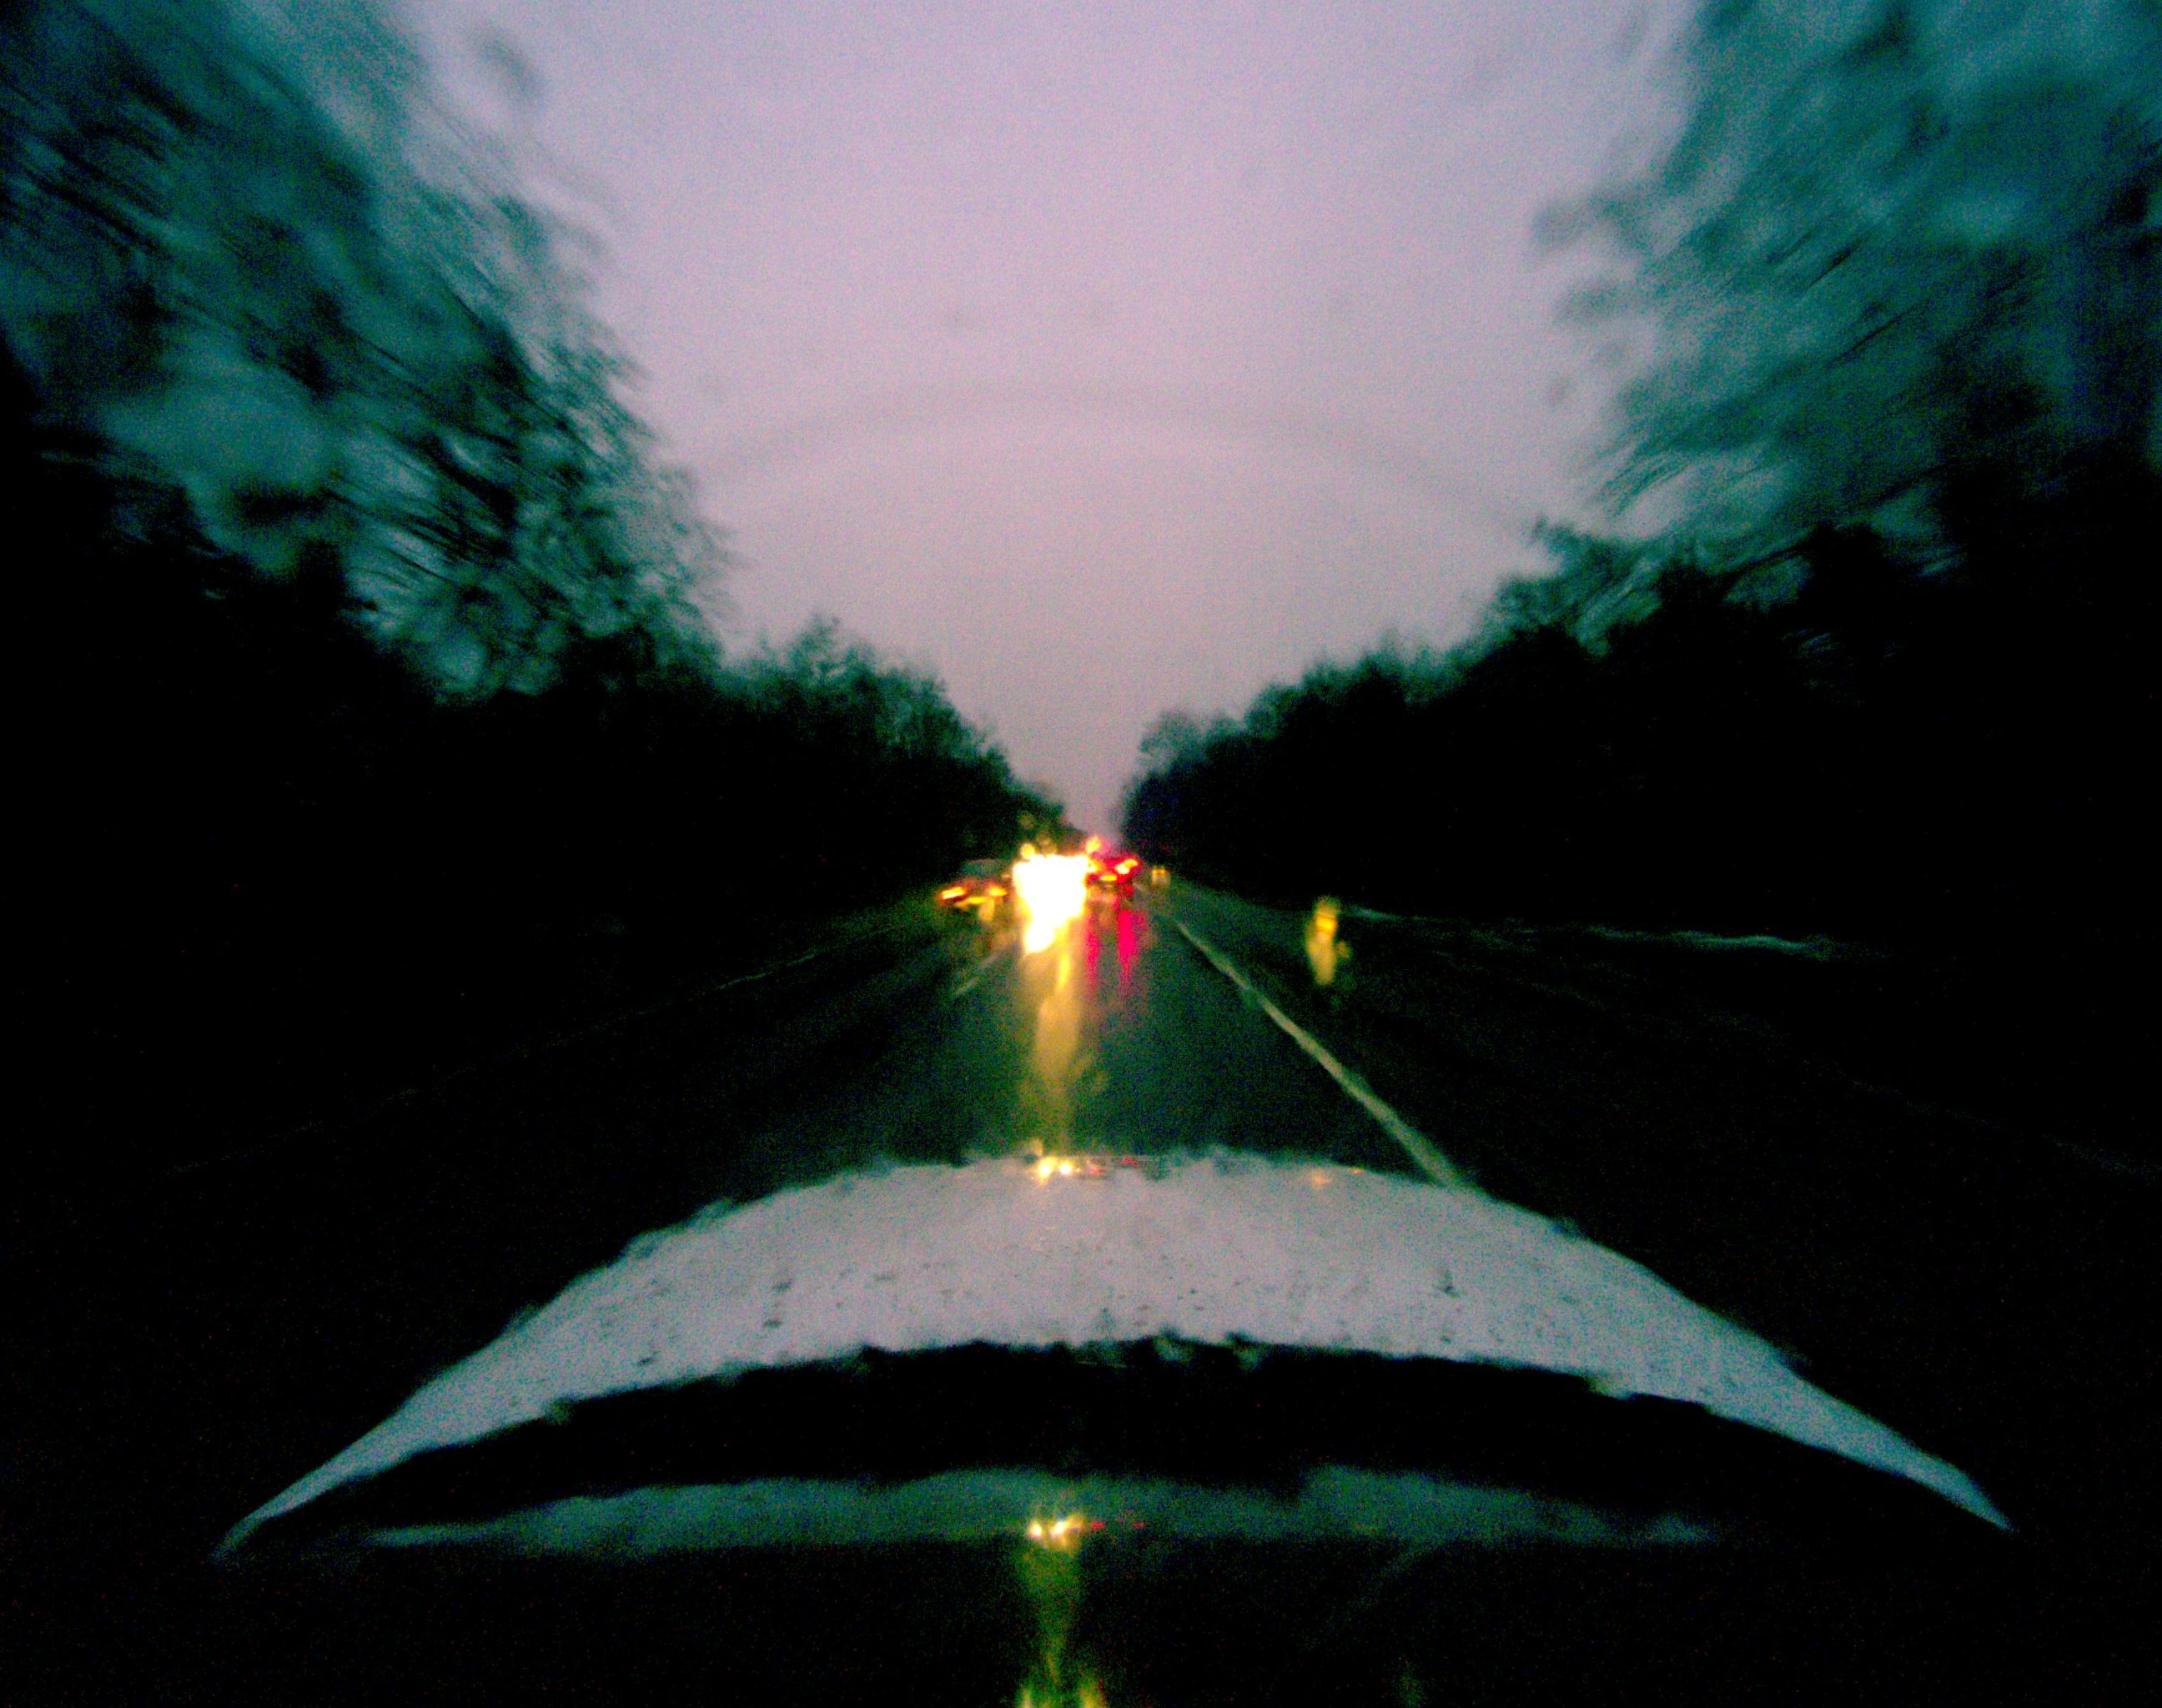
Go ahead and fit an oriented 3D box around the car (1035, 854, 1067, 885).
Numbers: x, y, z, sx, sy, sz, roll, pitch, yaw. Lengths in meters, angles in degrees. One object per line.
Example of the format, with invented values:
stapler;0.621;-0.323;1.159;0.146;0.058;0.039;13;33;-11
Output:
car;-1.921;0.977;53.301;1.700;1.822;4.287;-3;0;2

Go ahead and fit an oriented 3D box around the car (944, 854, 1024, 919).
car;-2.647;0.840;22.935;1.575;1.550;4.001;-4;-1;1

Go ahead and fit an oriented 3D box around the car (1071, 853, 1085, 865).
car;-0.395;0.597;105.279;1.613;1.389;4.072;-2;0;1
